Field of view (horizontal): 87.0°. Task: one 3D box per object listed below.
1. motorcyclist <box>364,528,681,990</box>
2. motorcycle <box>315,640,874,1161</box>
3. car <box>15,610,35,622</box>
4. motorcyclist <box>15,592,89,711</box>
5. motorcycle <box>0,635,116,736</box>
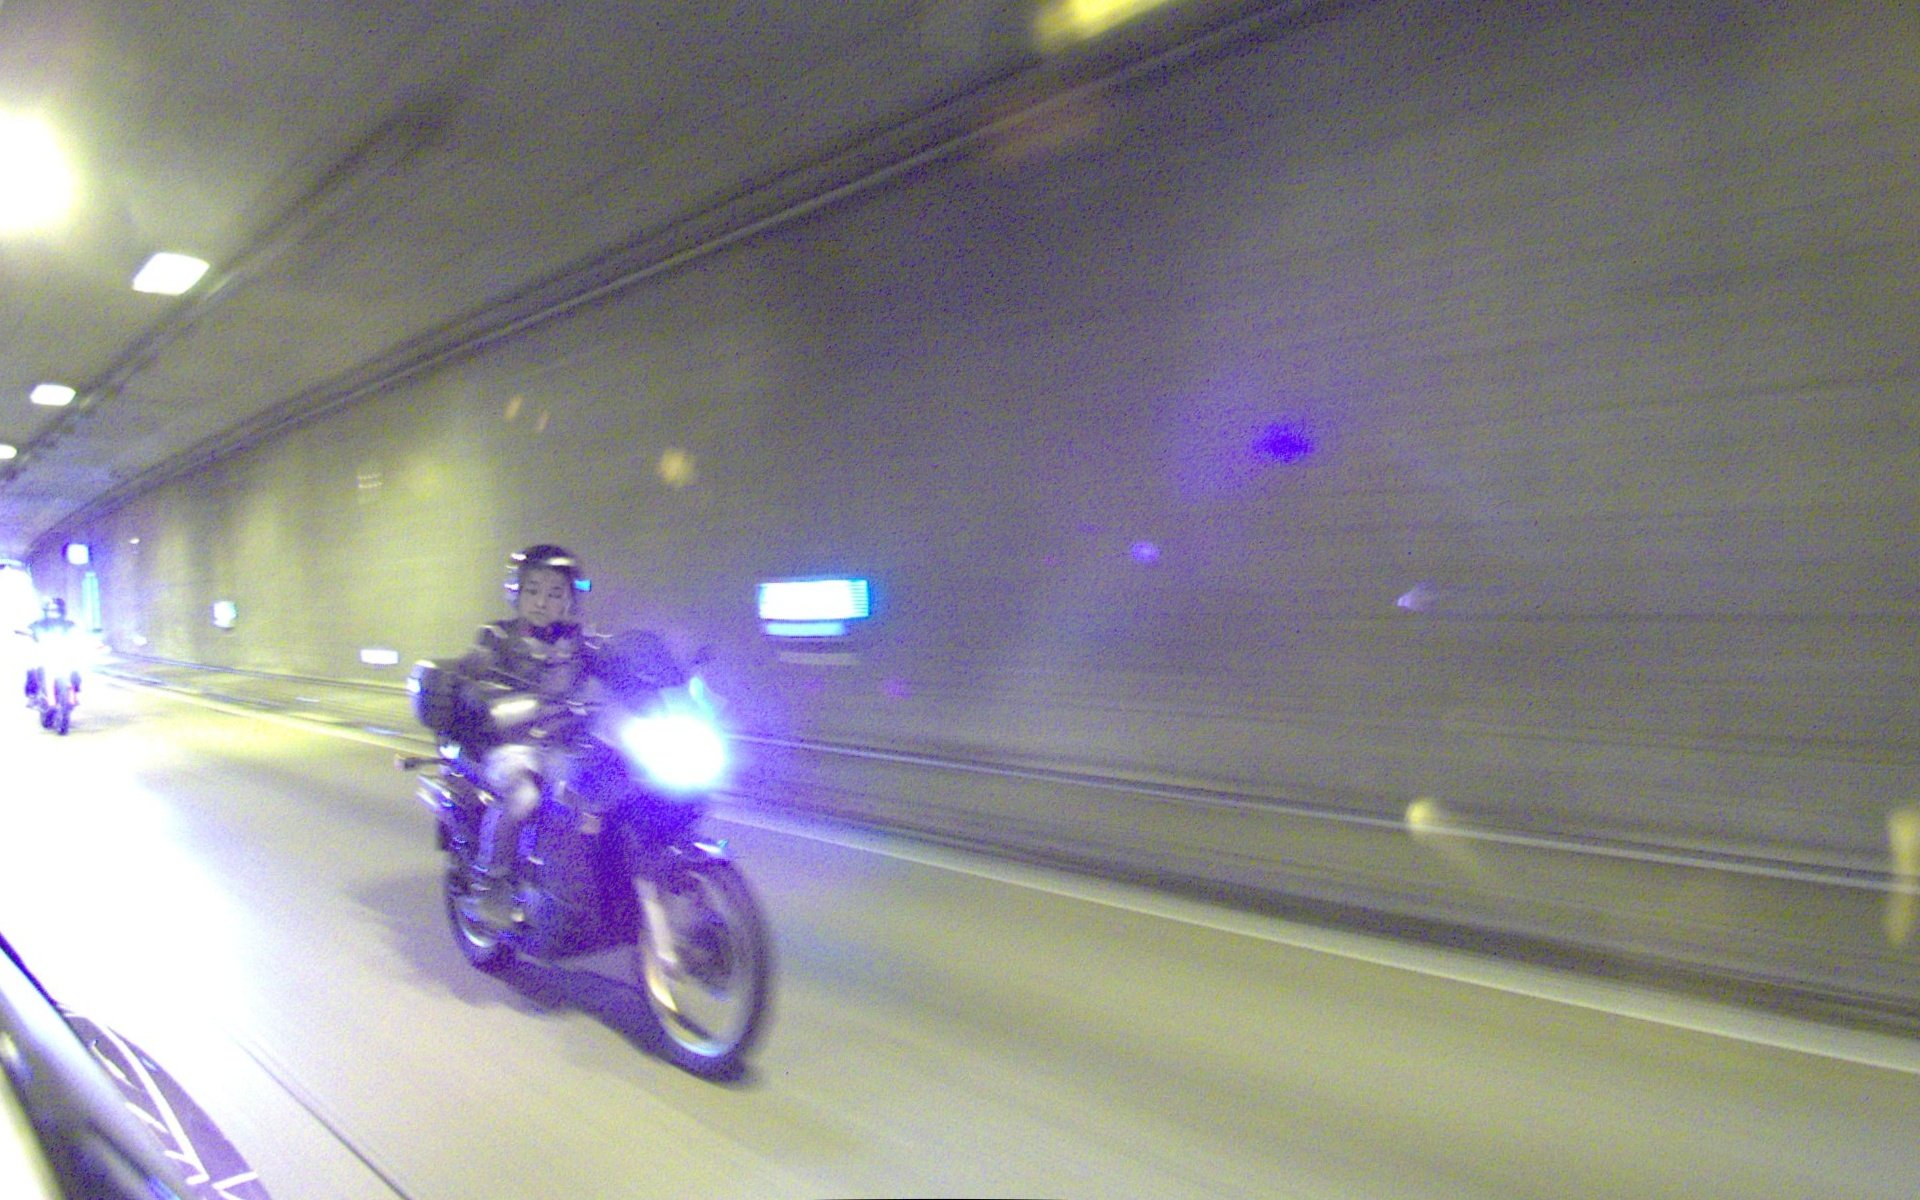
[{"bbox_3d":[-1.662,0.517,3.856,0.821,1.488,0.830,-2,-1,41],"label":"motorcyclist"},{"bbox_3d":[-1.516,0.808,3.763,2.604,1.255,0.836,-1,0,42],"label":"motorcycle"},{"bbox_3d":[-143.047,2.400,154.805,1.968,1.812,4.008,-2,1,-39],"label":"car"},{"bbox_3d":[-11.920,0.657,13.279,0.890,1.500,0.620,-1,-1,41],"label":"motorcyclist"},{"bbox_3d":[-11.969,1.065,13.320,2.428,1.166,1.042,-1,-1,43],"label":"motorcycle"}]
